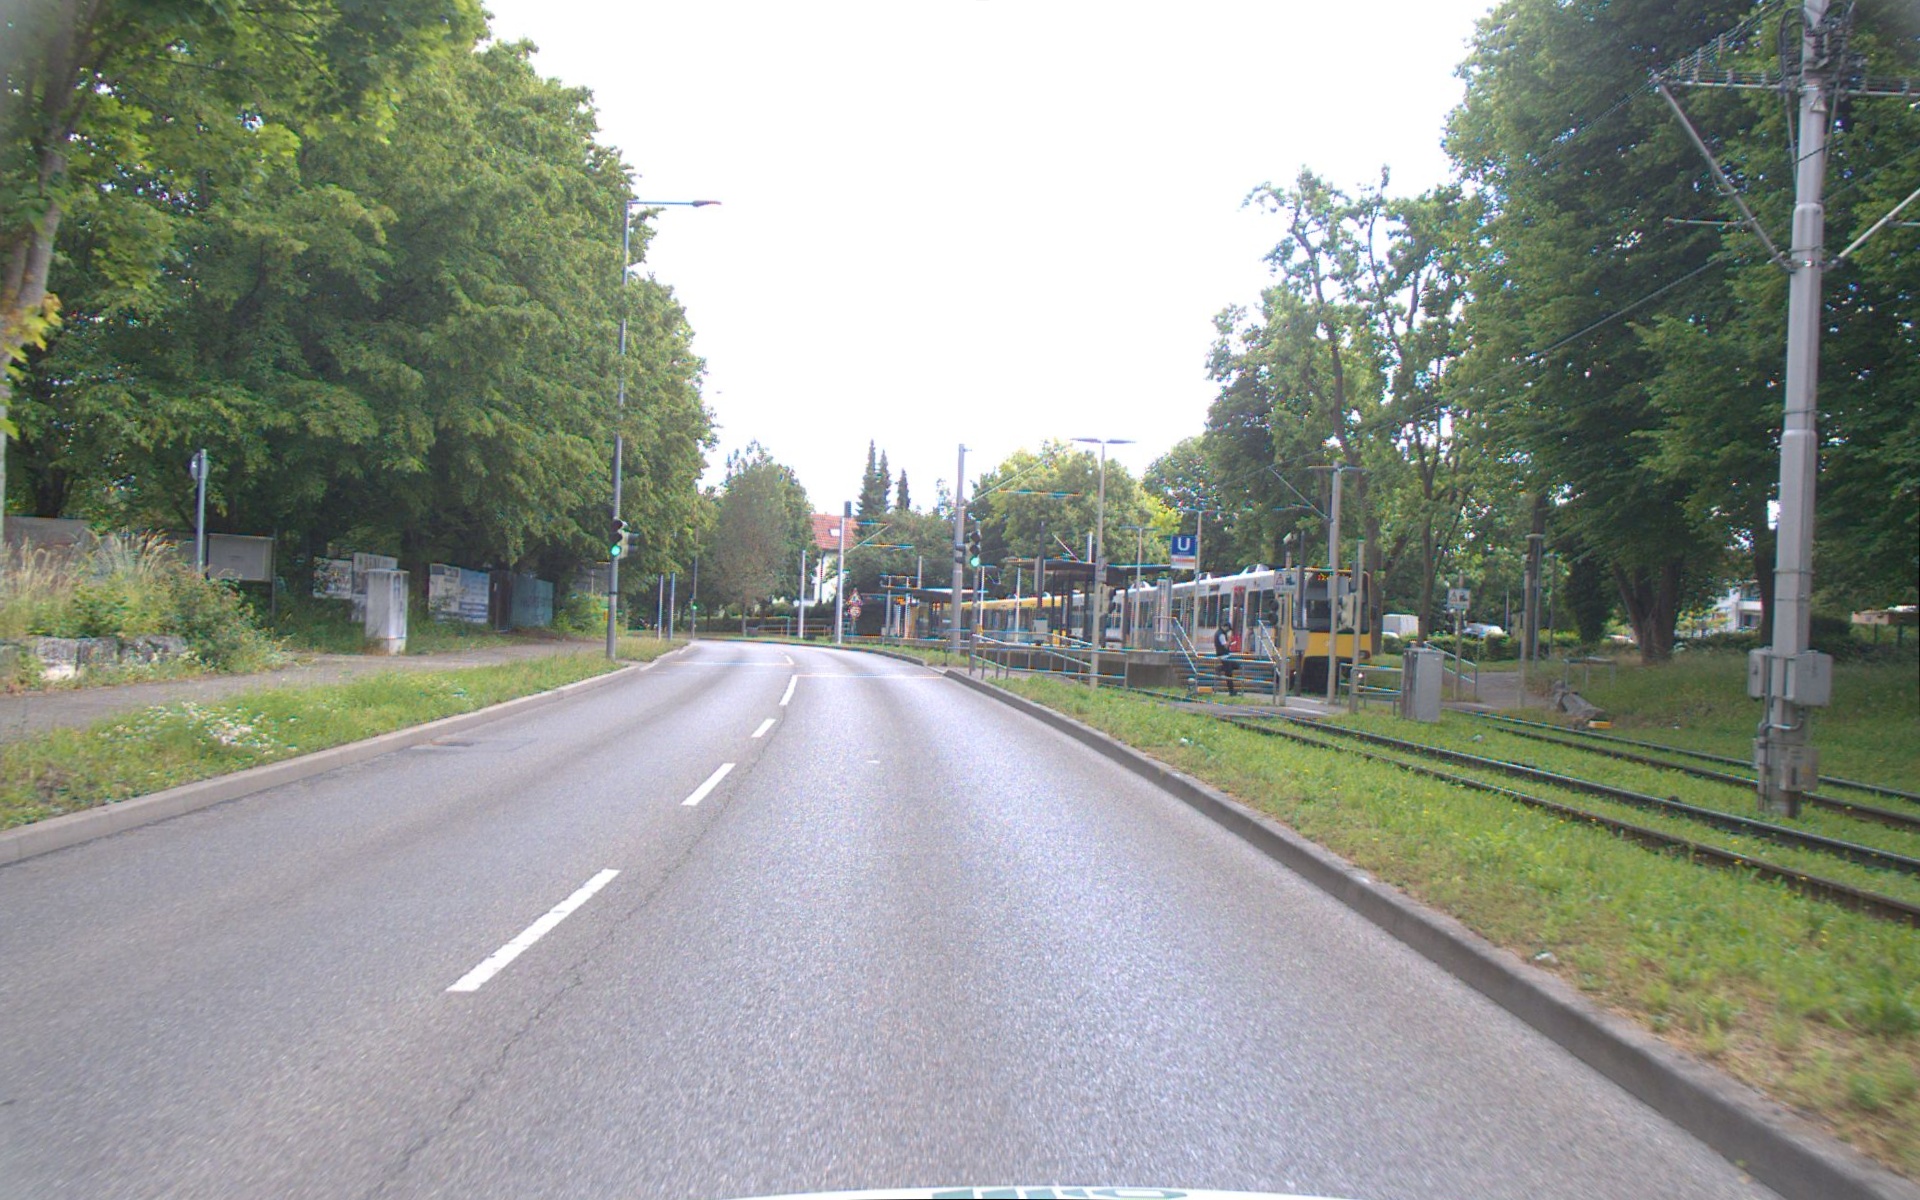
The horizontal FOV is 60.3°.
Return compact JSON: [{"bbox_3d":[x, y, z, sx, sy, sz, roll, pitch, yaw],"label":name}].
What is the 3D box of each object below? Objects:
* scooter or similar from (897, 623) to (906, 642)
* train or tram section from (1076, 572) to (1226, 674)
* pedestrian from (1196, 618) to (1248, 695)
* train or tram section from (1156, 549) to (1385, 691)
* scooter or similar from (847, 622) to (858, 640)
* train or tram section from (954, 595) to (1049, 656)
[{"bbox_3d":[-3.902,2.156,110.113,0.362,1.264,1.142,2,-1,-12],"label":"scooter or similar"},{"bbox_3d":[8.136,1.109,74.136,2.759,3.865,18.910,3,-1,-5],"label":"train or tram section"},{"bbox_3d":[6.322,1.353,39.986,0.967,1.788,0.727,3,-1,-15],"label":"pedestrian"},{"bbox_3d":[9.781,0.768,55.399,2.758,3.802,18.513,3,-1,-4],"label":"train or tram section"},{"bbox_3d":[-7.784,2.270,119.659,0.423,1.275,1.247,1,-3,-21],"label":"scooter or similar"},{"bbox_3d":[2.565,1.739,112.005,2.762,3.651,19.469,3,-1,-9],"label":"train or tram section"}]
